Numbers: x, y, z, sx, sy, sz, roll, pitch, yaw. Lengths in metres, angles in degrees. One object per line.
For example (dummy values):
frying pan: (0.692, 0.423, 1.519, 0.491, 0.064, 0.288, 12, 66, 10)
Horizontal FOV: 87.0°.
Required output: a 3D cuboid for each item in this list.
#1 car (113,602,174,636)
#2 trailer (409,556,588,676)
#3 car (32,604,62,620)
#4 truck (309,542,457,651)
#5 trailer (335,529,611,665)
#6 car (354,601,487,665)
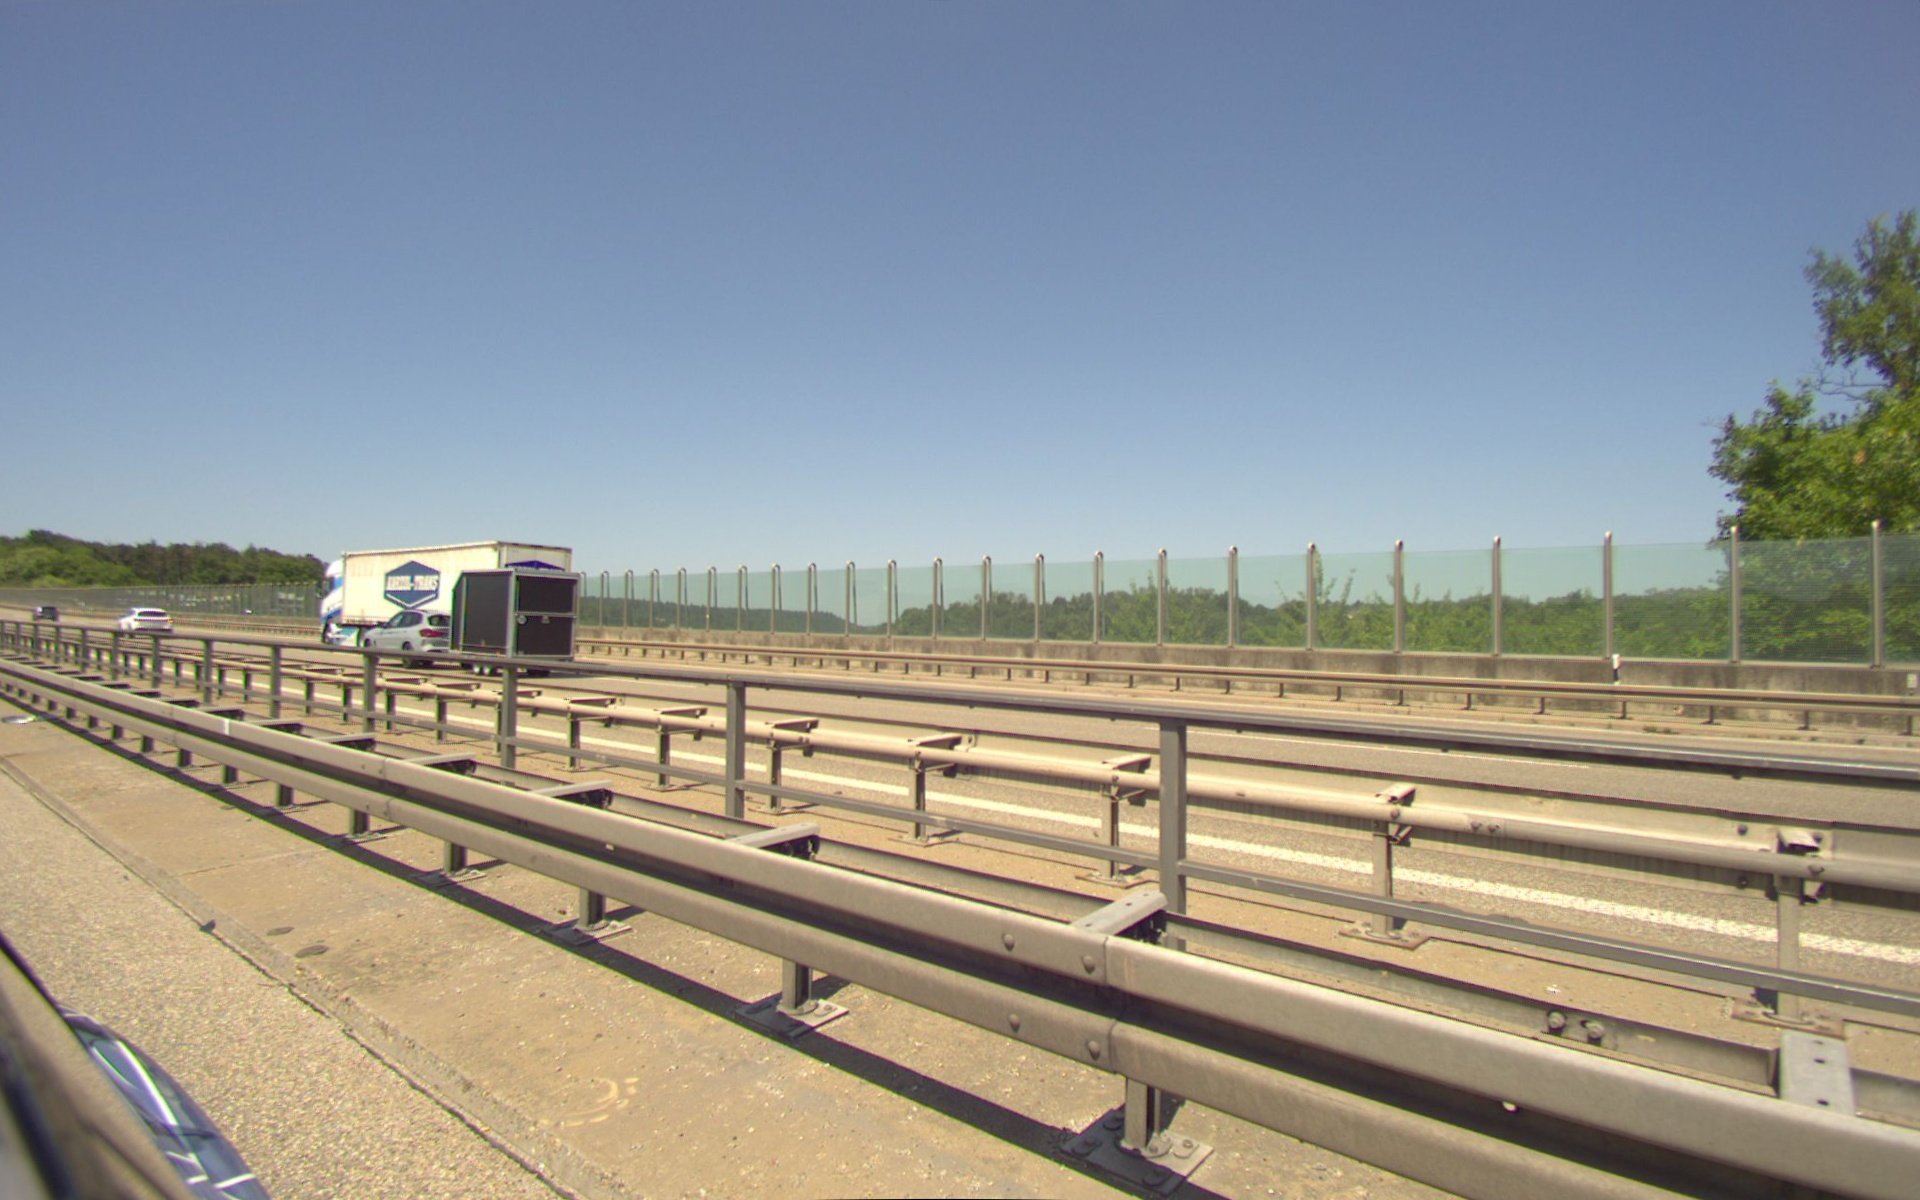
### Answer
car: (-43.680, 0.995, 54.116, 4.383, 1.709, 1.731, 1, -2, 41)
trailer: (-12.037, 0.367, 26.207, 5.373, 2.798, 2.143, 1, -1, 41)
car: (-87.381, 1.154, 96.865, 3.540, 1.473, 1.635, 1, -1, 41)
truck: (-24.449, -0.095, 42.885, 4.855, 4.260, 3.965, 0, -2, 40)
trailer: (-18.607, -0.088, 37.803, 14.032, 4.267, 3.948, 0, -1, 41)
car: (-15.710, 0.905, 29.364, 4.626, 1.637, 1.851, 1, -1, 41)
